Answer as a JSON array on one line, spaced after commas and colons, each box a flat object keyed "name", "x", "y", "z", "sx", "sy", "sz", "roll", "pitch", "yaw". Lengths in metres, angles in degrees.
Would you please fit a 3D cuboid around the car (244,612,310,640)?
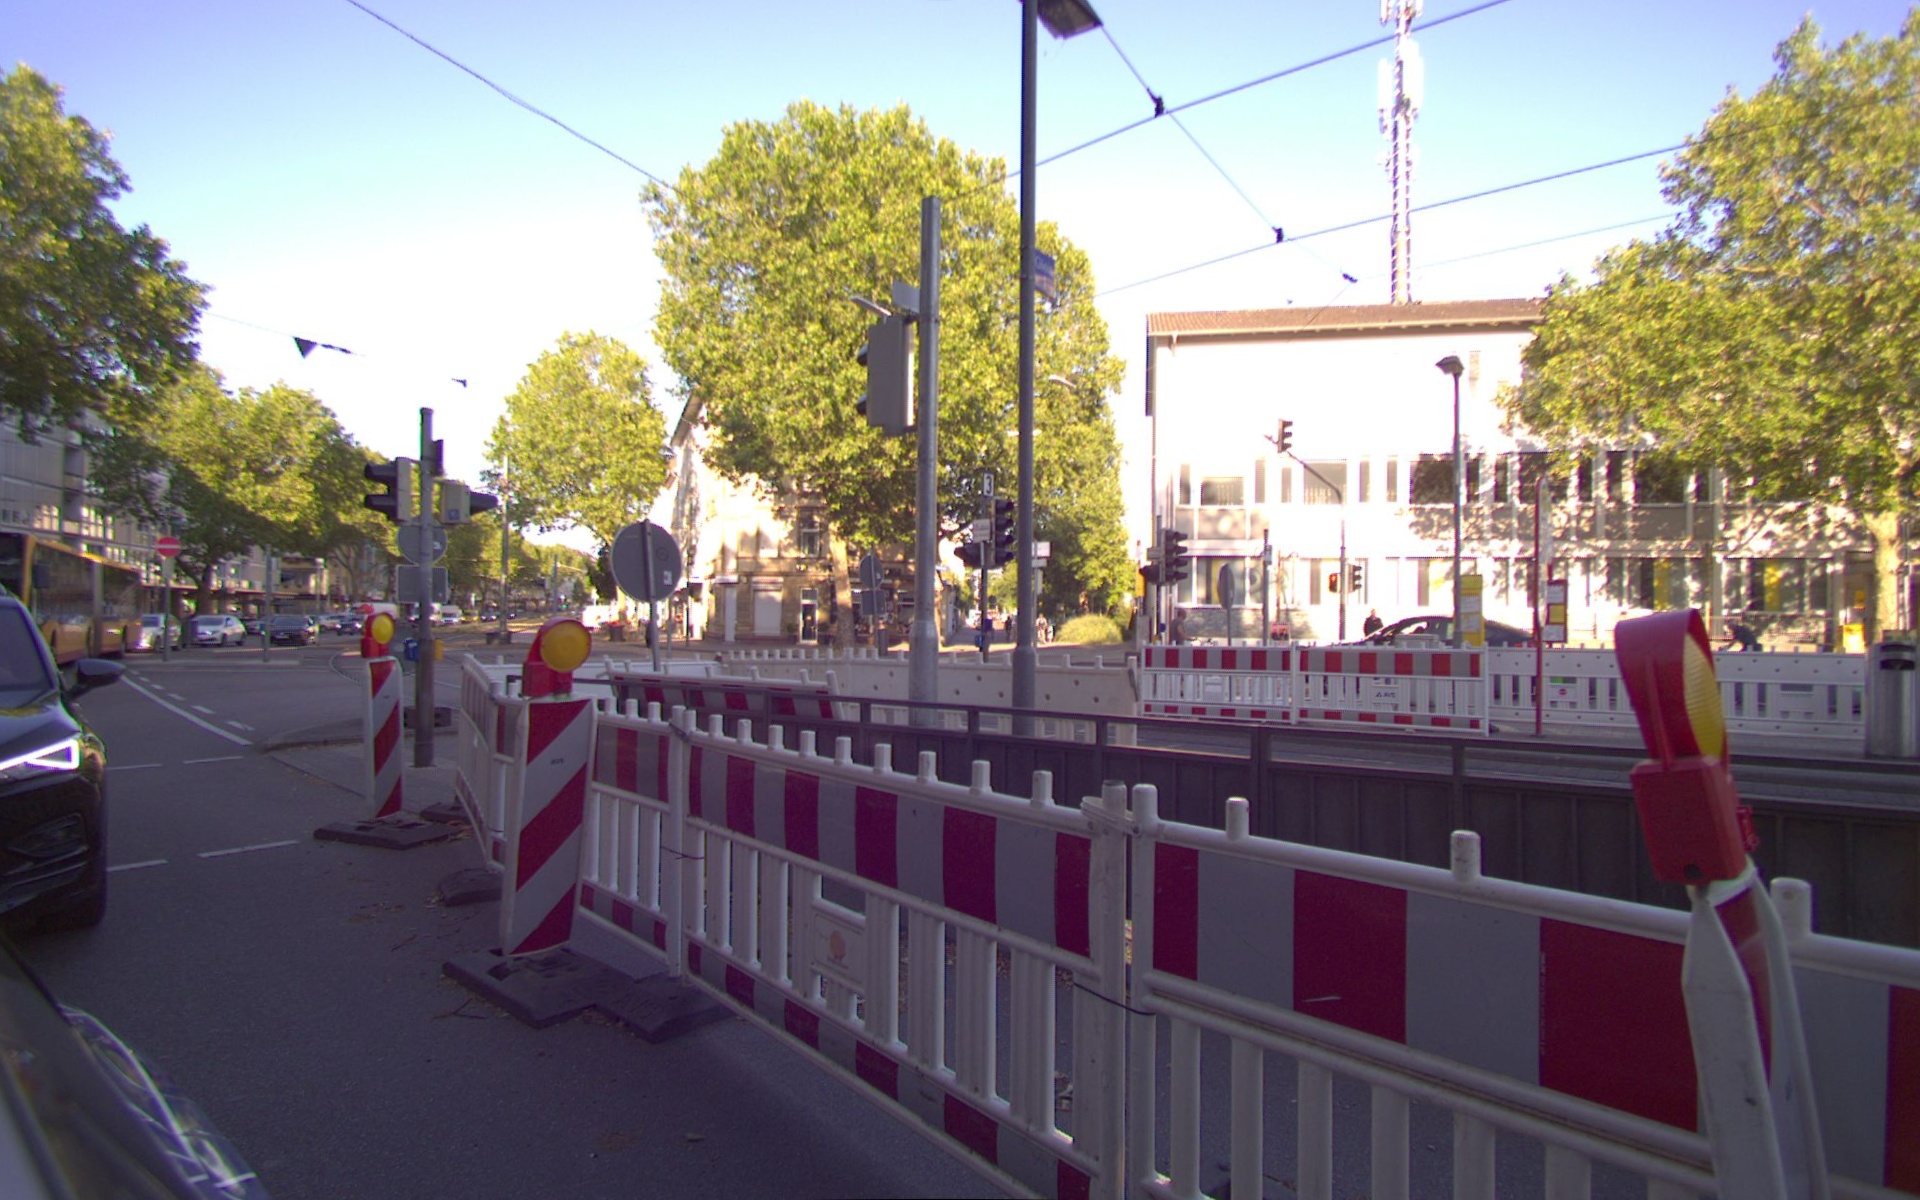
[{"name": "car", "x": -50.481, "y": 1.909, "z": 74.867, "sx": 3.932, "sy": 2.029, "sz": 2.006, "roll": 1, "pitch": -2, "yaw": -31}]

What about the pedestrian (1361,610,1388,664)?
[{"name": "pedestrian", "x": 12.089, "y": 1.077, "z": 29.508, "sx": 0.649, "sy": 1.564, "sz": 0.563, "roll": -1, "pitch": -2, "yaw": 28}]

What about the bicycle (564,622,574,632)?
[{"name": "bicycle", "x": -44.809, "y": 3.104, "z": 116.004, "sx": 0.837, "sy": 1.202, "sz": 2.474, "roll": 1, "pitch": -1, "yaw": -25}]

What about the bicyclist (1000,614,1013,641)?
[{"name": "bicyclist", "x": 3.010, "y": 1.798, "z": 65.412, "sx": 0.668, "sy": 1.741, "sz": 0.760, "roll": 0, "pitch": -2, "yaw": 18}]

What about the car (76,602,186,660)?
[{"name": "car", "x": -30.900, "y": 1.137, "z": 37.860, "sx": 1.965, "sy": 2.029, "sz": 4.111, "roll": 1, "pitch": -1, "yaw": -21}]

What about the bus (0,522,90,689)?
[{"name": "bus", "x": -21.160, "y": 0.145, "z": 21.997, "sx": 2.678, "sy": 3.130, "sz": 8.641, "roll": 1, "pitch": -2, "yaw": -36}]

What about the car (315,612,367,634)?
[{"name": "car", "x": -60.254, "y": 2.241, "z": 98.527, "sx": 3.938, "sy": 2.029, "sz": 2.002, "roll": 1, "pitch": -2, "yaw": -42}]

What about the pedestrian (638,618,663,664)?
[{"name": "pedestrian", "x": -10.665, "y": 1.405, "z": 34.873, "sx": 0.594, "sy": 1.545, "sz": 0.746, "roll": 1, "pitch": -2, "yaw": -38}]

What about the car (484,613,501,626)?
[{"name": "car", "x": -69.669, "y": 2.930, "z": 150.946, "sx": 1.809, "sy": 1.816, "sz": 4.143, "roll": 1, "pitch": -2, "yaw": -19}]

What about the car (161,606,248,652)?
[{"name": "car", "x": -34.907, "y": 1.323, "z": 46.891, "sx": 1.966, "sy": 2.029, "sz": 4.012, "roll": 1, "pitch": -1, "yaw": -17}]

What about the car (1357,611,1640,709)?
[{"name": "car", "x": 10.274, "y": 1.068, "z": 19.487, "sx": 4.552, "sy": 1.674, "sz": 1.974, "roll": -1, "pitch": -2, "yaw": 38}]

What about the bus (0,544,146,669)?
[{"name": "bus", "x": -26.011, "y": 0.247, "z": 29.224, "sx": 2.676, "sy": 3.130, "sz": 8.622, "roll": 1, "pitch": -2, "yaw": -31}]

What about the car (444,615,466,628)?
[{"name": "car", "x": -55.601, "y": 2.384, "z": 111.534, "sx": 1.675, "sy": 1.481, "sz": 3.776, "roll": 1, "pitch": -2, "yaw": -19}]

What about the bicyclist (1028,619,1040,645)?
[{"name": "bicyclist", "x": 4.448, "y": 1.925, "z": 60.805, "sx": 0.571, "sy": 1.538, "sz": 0.841, "roll": 0, "pitch": -2, "yaw": 17}]

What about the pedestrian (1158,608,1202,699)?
[{"name": "pedestrian", "x": 4.394, "y": 1.055, "z": 20.218, "sx": 0.545, "sy": 1.760, "sz": 0.693, "roll": 1, "pitch": -2, "yaw": -24}]

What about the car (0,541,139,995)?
[{"name": "car", "x": -5.469, "y": 0.645, "z": 4.771, "sx": 3.998, "sy": 1.719, "sz": 1.818, "roll": -1, "pitch": -2, "yaw": 41}]

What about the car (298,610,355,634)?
[{"name": "car", "x": -56.027, "y": 1.944, "z": 89.499, "sx": 3.938, "sy": 2.029, "sz": 2.002, "roll": 1, "pitch": -2, "yaw": -42}]

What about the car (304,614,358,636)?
[{"name": "car", "x": -58.491, "y": 2.337, "z": 94.136, "sx": 3.938, "sy": 2.029, "sz": 2.002, "roll": 1, "pitch": -2, "yaw": -42}]

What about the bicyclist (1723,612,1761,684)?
[{"name": "bicyclist", "x": 17.962, "y": 1.099, "z": 23.245, "sx": 0.643, "sy": 1.626, "sz": 0.544, "roll": -1, "pitch": -2, "yaw": 41}]

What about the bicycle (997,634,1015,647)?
[{"name": "bicycle", "x": 2.976, "y": 2.613, "z": 65.280, "sx": 0.676, "sy": 0.788, "sz": 1.979, "roll": 0, "pitch": -1, "yaw": 17}]

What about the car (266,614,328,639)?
[{"name": "car", "x": -54.126, "y": 2.154, "z": 82.664, "sx": 3.938, "sy": 2.029, "sz": 2.002, "roll": 1, "pitch": -2, "yaw": -42}]

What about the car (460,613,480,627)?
[{"name": "car", "x": -61.478, "y": 2.516, "z": 127.077, "sx": 1.809, "sy": 1.816, "sz": 4.143, "roll": 1, "pitch": -2, "yaw": -19}]

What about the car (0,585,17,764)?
[{"name": "car", "x": -11.020, "y": 0.695, "z": 10.075, "sx": 4.073, "sy": 1.656, "sz": 1.973, "roll": -1, "pitch": -2, "yaw": 41}]

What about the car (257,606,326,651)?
[{"name": "car", "x": -31.669, "y": 1.350, "z": 48.065, "sx": 1.965, "sy": 2.029, "sz": 4.013, "roll": 1, "pitch": -1, "yaw": -22}]

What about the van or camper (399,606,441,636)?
[{"name": "van or camper", "x": -50.871, "y": 1.959, "z": 95.498, "sx": 2.385, "sy": 2.739, "sz": 6.151, "roll": 1, "pitch": -1, "yaw": -18}]

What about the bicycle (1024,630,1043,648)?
[{"name": "bicycle", "x": 4.427, "y": 2.309, "z": 60.729, "sx": 0.672, "sy": 1.039, "sz": 2.177, "roll": 0, "pitch": -1, "yaw": 17}]

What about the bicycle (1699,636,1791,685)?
[{"name": "bicycle", "x": 17.988, "y": 1.366, "z": 23.211, "sx": 1.621, "sy": 1.073, "sz": 0.543, "roll": -1, "pitch": -2, "yaw": 41}]

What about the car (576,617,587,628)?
[{"name": "car", "x": -72.065, "y": 4.204, "z": 192.549, "sx": 1.965, "sy": 2.029, "sz": 4.013, "roll": 1, "pitch": -1, "yaw": -20}]

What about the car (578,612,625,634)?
[{"name": "car", "x": -34.407, "y": 2.197, "z": 97.110, "sx": 1.990, "sy": 2.029, "sz": 3.963, "roll": 0, "pitch": -2, "yaw": 27}]
